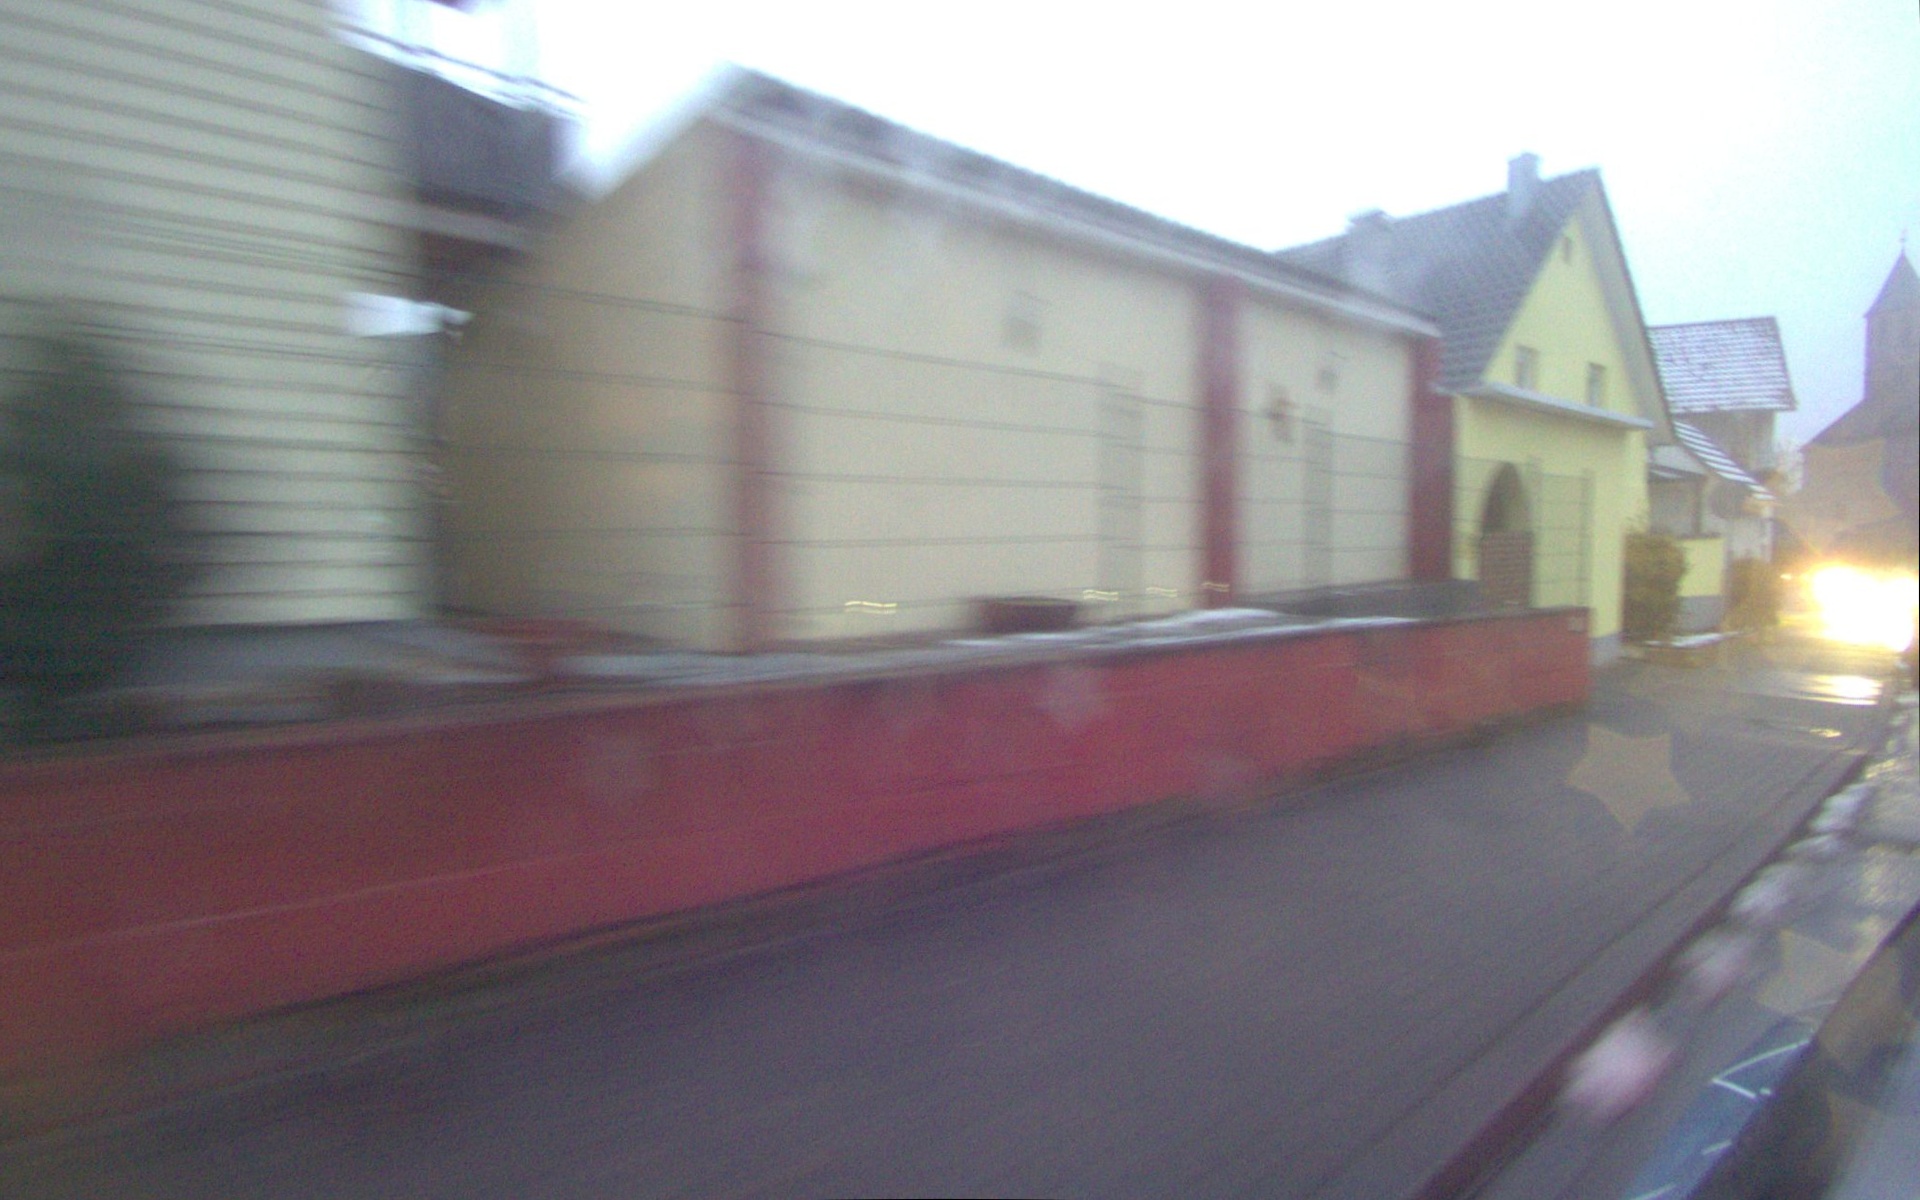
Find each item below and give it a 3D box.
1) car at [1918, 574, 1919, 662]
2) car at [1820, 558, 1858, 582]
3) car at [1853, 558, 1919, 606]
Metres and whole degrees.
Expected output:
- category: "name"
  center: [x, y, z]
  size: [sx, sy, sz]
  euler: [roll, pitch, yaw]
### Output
- category: "car"
  center: [15.938, 0.365, 15.512]
  size: [1.725, 1.449, 4.725]
  euler: [1, 3, 42]
- category: "car"
  center: [58.775, -1.990, 67.645]
  size: [1.759, 1.516, 3.939]
  euler: [0, 2, 43]
- category: "car"
  center: [41.170, -0.833, 44.836]
  size: [1.987, 2.038, 3.951]
  euler: [0, 2, 35]
